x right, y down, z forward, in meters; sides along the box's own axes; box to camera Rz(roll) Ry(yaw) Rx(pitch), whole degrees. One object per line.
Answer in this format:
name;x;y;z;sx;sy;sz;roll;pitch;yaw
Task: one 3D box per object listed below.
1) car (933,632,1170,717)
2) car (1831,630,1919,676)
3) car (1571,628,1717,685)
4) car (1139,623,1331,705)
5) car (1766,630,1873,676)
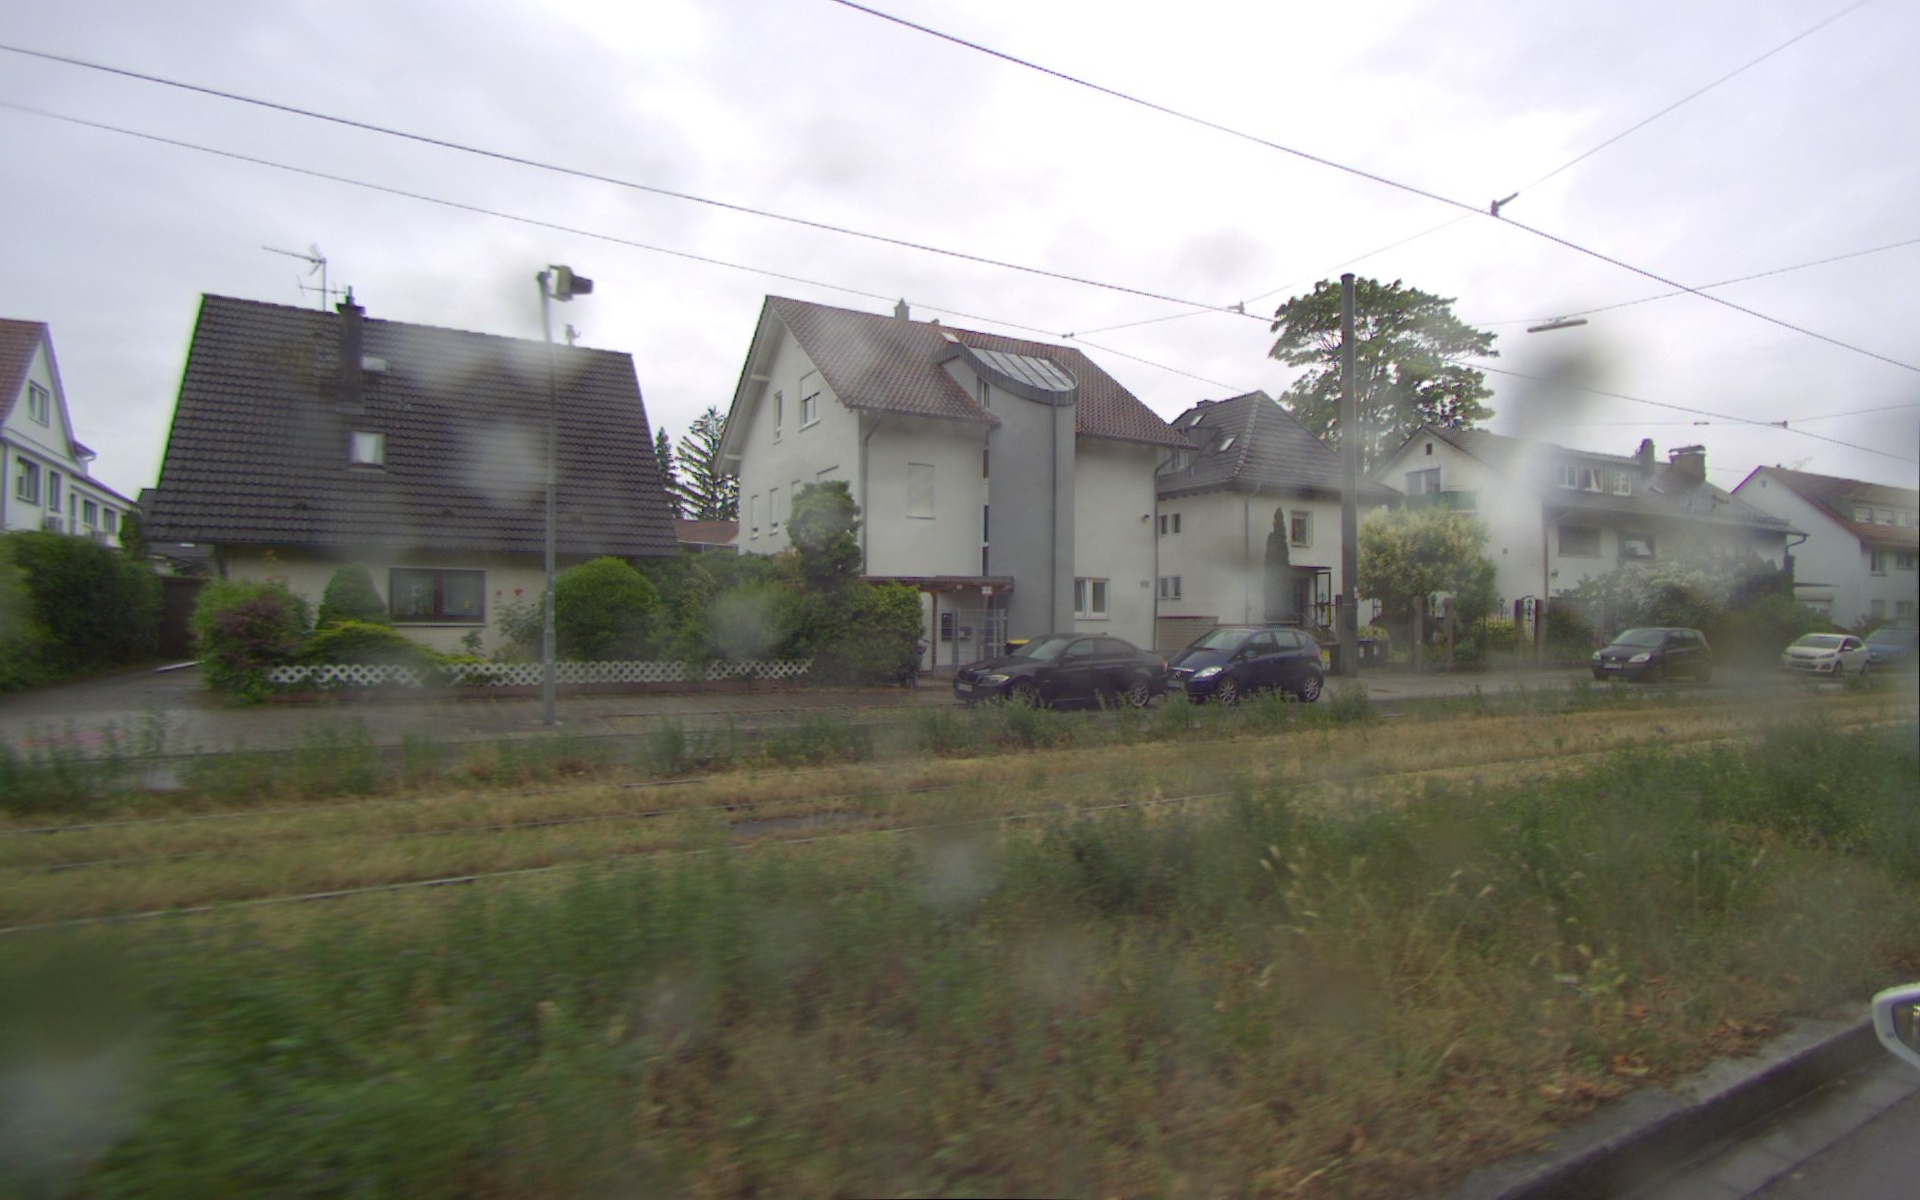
car;1.789;1.363;19.436;4.188;1.369;1.985;1;1;-29
car;36.419;2.047;39.409;4.359;1.635;1.985;1;1;-29
car;20.744;1.663;30.437;4.154;1.536;1.985;1;1;-29
car;5.975;1.321;21.771;3.825;1.571;1.864;1;1;-31
car;30.942;1.882;36.159;3.553;1.508;1.788;1;1;-29
